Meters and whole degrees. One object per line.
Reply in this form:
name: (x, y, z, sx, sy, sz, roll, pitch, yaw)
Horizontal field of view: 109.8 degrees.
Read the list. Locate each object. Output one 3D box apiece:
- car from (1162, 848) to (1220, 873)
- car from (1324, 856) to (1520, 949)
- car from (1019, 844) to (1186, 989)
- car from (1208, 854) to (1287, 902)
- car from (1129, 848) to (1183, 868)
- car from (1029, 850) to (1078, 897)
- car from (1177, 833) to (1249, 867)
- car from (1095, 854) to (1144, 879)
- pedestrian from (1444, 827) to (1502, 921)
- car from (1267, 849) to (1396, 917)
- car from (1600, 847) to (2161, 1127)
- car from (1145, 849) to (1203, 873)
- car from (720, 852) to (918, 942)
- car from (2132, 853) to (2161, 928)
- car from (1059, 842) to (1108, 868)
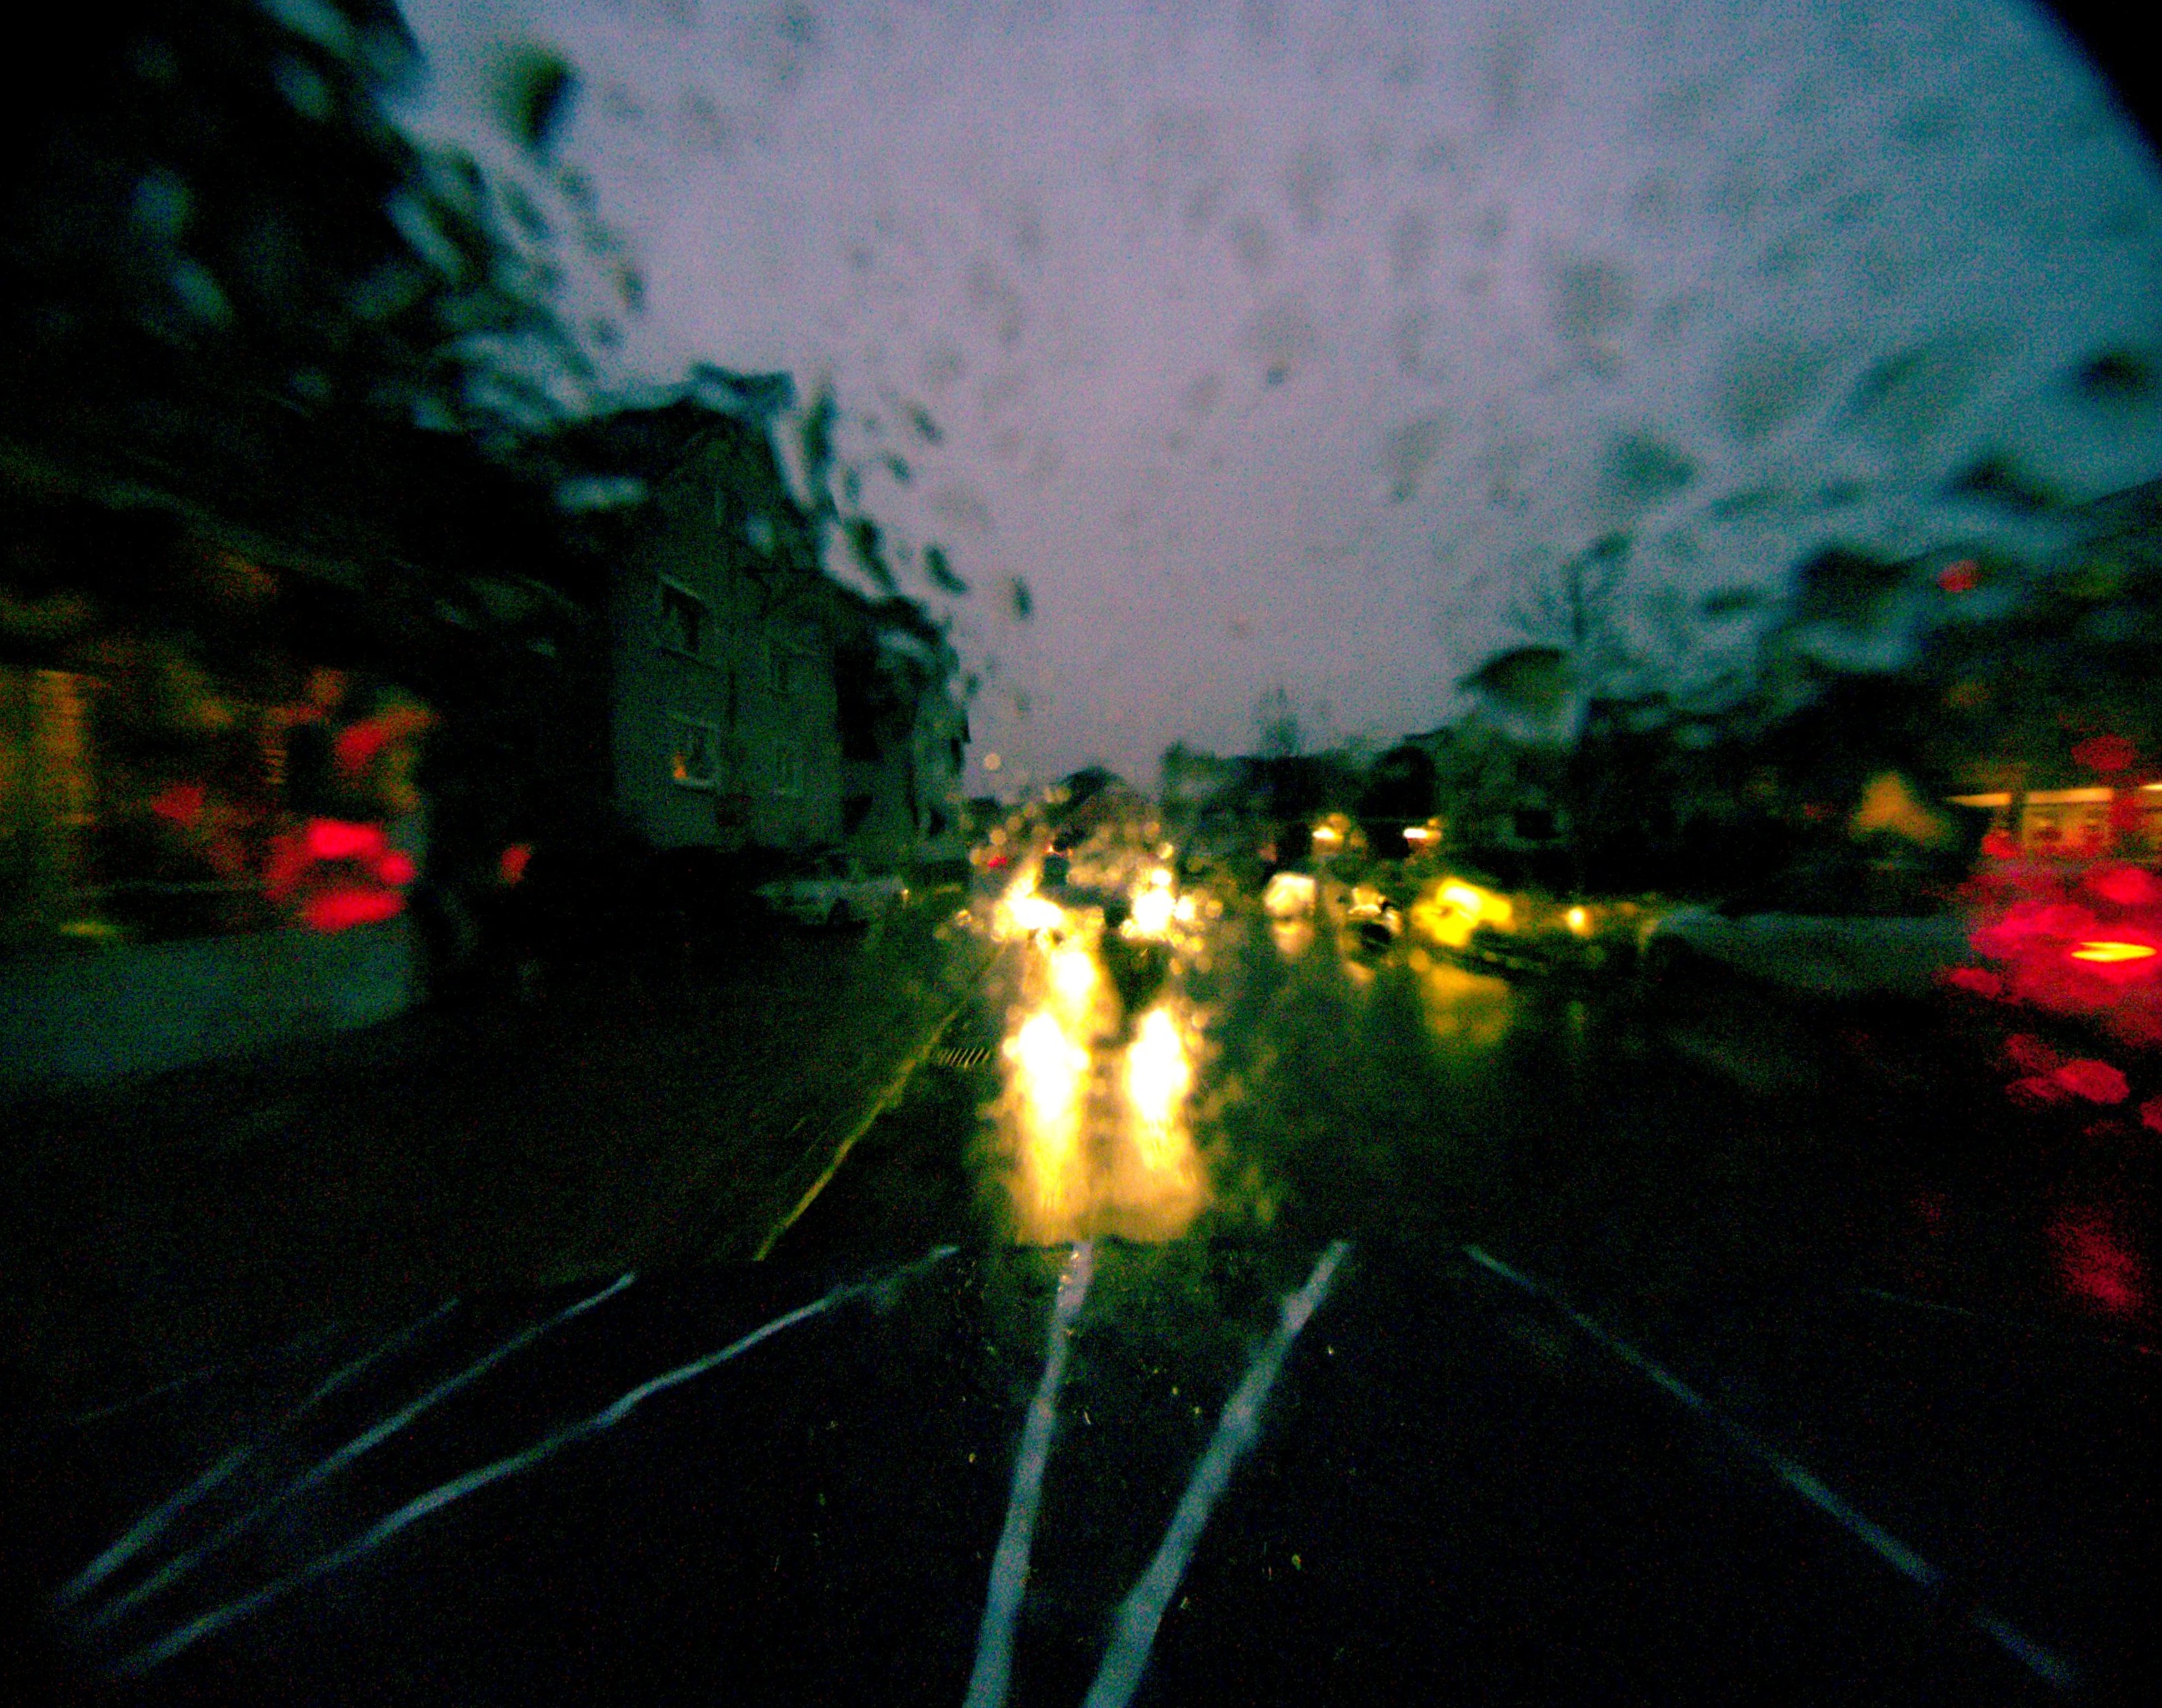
car: (7.562, 0.452, 52.311, 3.839, 1.537, 2.001, -2, 1, 7)
car: (6.188, 0.780, 14.402, 1.698, 1.423, 4.377, -2, 0, 0)
car: (0.251, 0.761, 11.444, 1.999, 1.720, 3.999, -2, 0, -1)
car: (5.879, 0.793, 27.353, 1.840, 1.526, 4.138, -2, 0, -1)
car: (5.694, 0.297, 57.880, 3.995, 1.291, 2.000, -2, 1, 5)
car: (-1.365, 0.862, 35.709, 1.999, 2.002, 3.998, -2, 1, -5)
car: (7.809, -0.234, 44.929, 3.993, 1.753, 1.435, -3, 1, 14)
car: (2.417, 0.753, 48.299, 1.984, 1.438, 3.908, -2, 0, -14)
pedestrian: (8.599, 0.429, 16.693, 0.902, 2.002, 0.791, -1, 0, 9)
car: (6.375, 0.685, 19.790, 1.880, 1.526, 3.670, -2, 1, -5)
car: (6.654, 0.723, 6.308, 1.789, 1.480, 4.182, -2, 1, 0)
car: (6.775, 0.509, 54.933, 3.994, 1.538, 2.001, -2, 1, 10)
car: (-5.248, 0.776, 16.046, 1.933, 1.477, 4.698, -2, 1, 8)
car: (23.760, 0.766, 14.411, 2.000, 1.555, 3.997, 0, 0, -8)
car: (0.251, 0.049, 64.263, 3.997, 2.002, 2.000, -2, 1, 0)
